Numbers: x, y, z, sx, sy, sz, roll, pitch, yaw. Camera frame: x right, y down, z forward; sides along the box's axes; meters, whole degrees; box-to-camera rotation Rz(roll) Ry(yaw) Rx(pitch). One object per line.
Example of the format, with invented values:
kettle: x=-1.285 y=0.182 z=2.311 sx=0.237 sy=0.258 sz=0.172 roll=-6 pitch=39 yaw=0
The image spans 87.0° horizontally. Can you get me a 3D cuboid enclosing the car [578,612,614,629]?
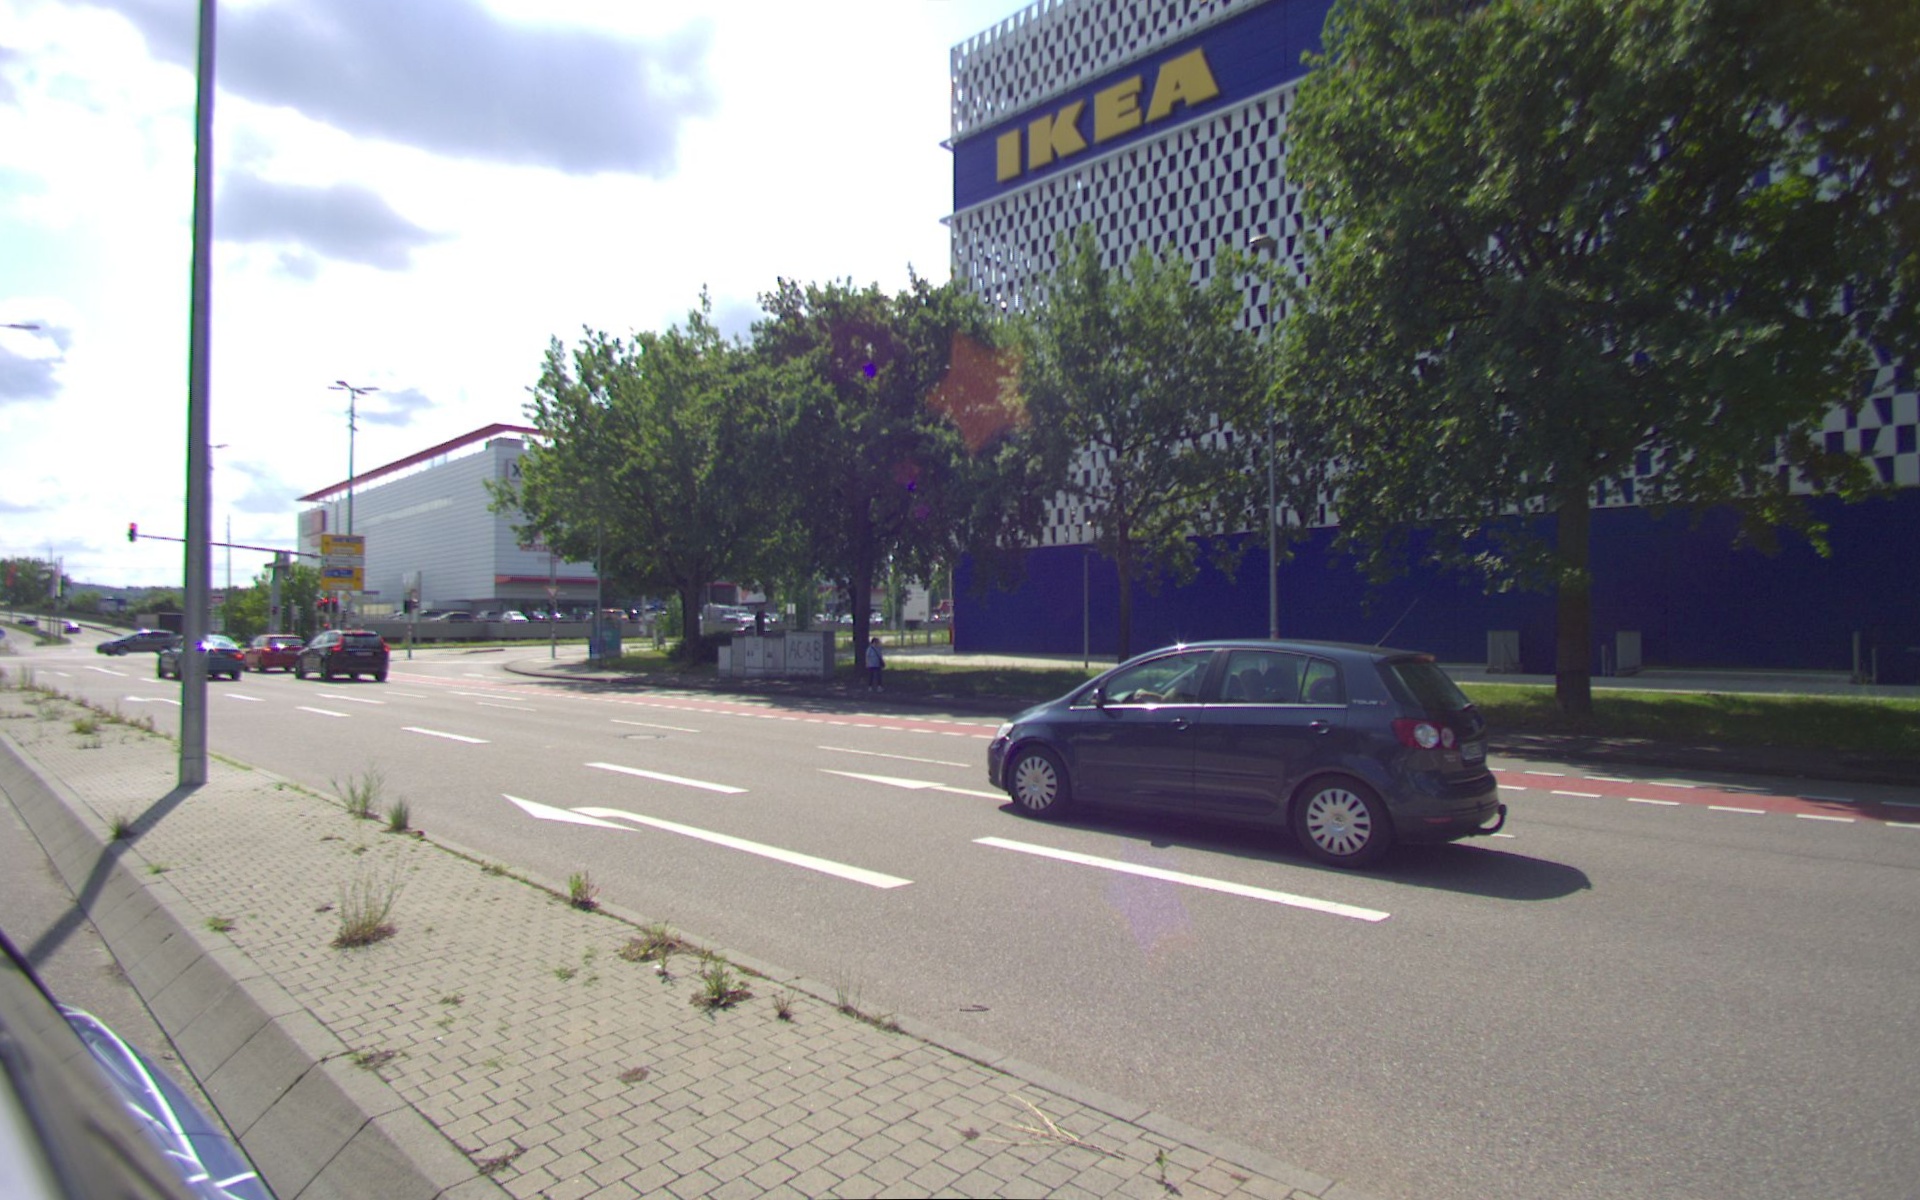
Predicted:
car: x=-42.221 y=2.347 z=117.352 sx=4.177 sy=1.763 sz=1.895 roll=-4 pitch=-2 yaw=34

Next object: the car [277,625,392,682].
car: x=-20.866 y=1.762 z=33.682 sx=4.820 sy=1.769 sz=1.907 roll=-2 pitch=-4 yaw=42

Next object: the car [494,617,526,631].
car: x=-53.528 y=2.859 z=120.368 sx=4.424 sy=1.482 sz=1.927 roll=-3 pitch=-3 yaw=44

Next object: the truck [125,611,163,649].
truck: x=-94.069 y=3.513 z=116.765 sx=3.171 sy=4.058 sz=9.088 roll=-1 pitch=-3 yaw=-38

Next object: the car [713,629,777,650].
car: x=-16.251 y=2.975 z=76.647 sx=1.897 sy=1.567 sz=4.521 roll=-2 pitch=-2 yaw=44

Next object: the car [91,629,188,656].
car: x=-48.443 y=2.481 z=59.824 sx=1.605 sy=1.542 sz=4.216 roll=-2 pitch=-2 yaw=36

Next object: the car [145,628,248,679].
car: x=-25.030 y=1.744 z=33.113 sx=4.820 sy=1.560 sz=1.754 roll=-2 pitch=-4 yaw=42

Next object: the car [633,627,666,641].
car: x=-37.375 y=4.111 z=121.759 sx=1.925 sy=1.618 sz=4.427 roll=0 pitch=-3 yaw=-44

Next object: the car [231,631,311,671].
car: x=-27.001 y=1.997 z=39.634 sx=4.125 sy=1.494 sz=1.667 roll=-2 pitch=-4 yaw=43

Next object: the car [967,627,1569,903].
car: x=2.240 y=1.085 z=8.053 sx=4.239 sy=1.622 sz=1.720 roll=-2 pitch=-6 yaw=41

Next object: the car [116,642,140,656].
car: x=-88.322 y=5.217 z=107.410 sx=1.752 sy=1.489 sz=4.684 roll=0 pitch=-3 yaw=-42

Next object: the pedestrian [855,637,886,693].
pedestrian: x=-2.546 y=1.843 z=28.848 sx=0.761 sy=1.567 sz=0.497 roll=-2 pitch=-2 yaw=43
